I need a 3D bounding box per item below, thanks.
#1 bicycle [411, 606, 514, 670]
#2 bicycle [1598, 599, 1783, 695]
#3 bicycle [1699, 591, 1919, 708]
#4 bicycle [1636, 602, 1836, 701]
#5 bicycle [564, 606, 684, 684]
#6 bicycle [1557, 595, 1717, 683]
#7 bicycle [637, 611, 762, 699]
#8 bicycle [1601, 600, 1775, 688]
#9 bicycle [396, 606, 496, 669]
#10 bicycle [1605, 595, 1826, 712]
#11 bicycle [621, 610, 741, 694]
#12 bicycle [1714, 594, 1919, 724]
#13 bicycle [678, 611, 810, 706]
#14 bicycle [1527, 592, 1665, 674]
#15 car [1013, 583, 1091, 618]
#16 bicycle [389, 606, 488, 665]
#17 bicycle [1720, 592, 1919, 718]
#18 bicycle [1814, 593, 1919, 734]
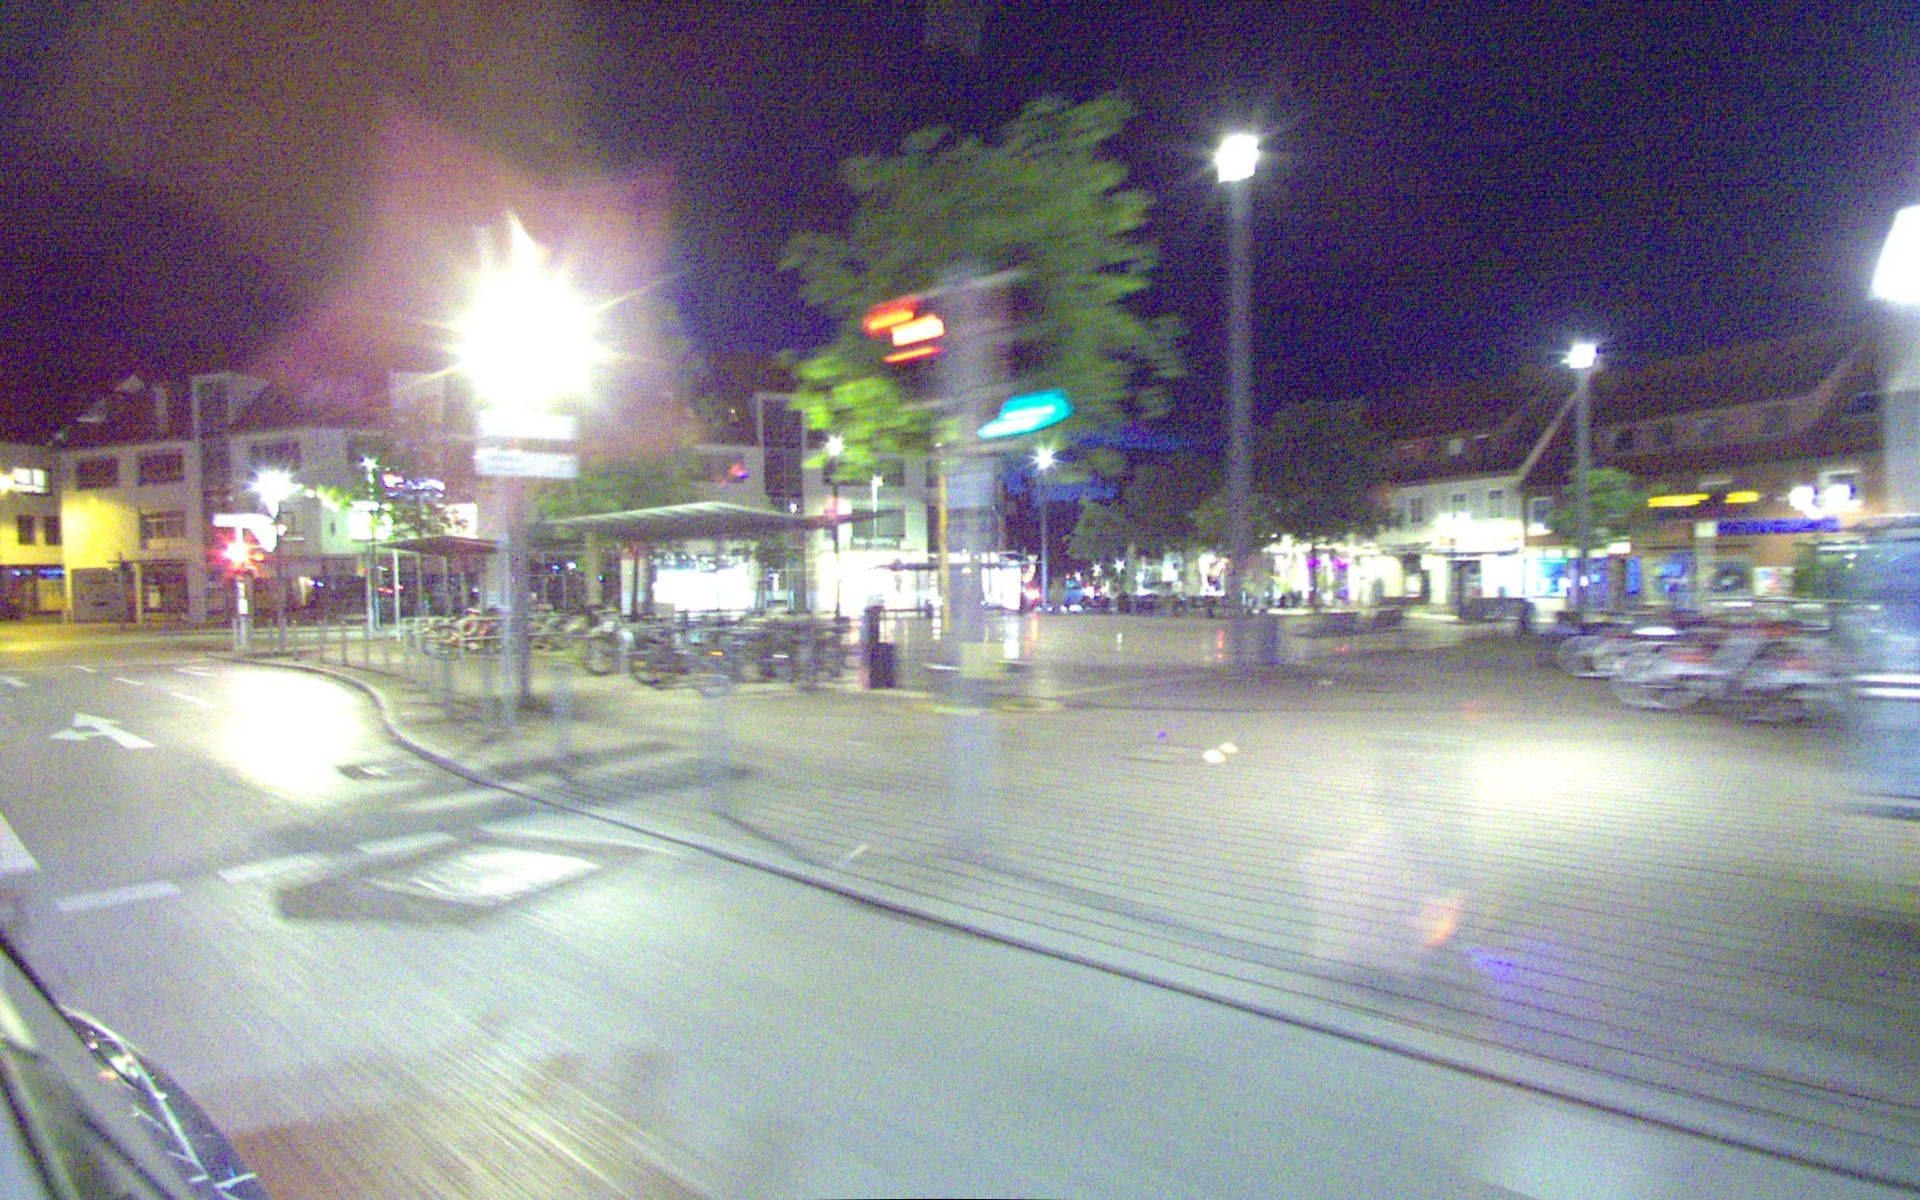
[{"bbox_3d":[-10.412,0.767,21.204,1.714,1.175,0.788,-5,3,-42],"label":"bicycle"},{"bbox_3d":[9.012,0.577,12.565,1.737,1.133,0.604,-2,-1,25],"label":"bicycle"},{"bbox_3d":[9.039,0.523,10.795,1.737,1.174,0.603,-2,-1,26],"label":"bicycle"},{"bbox_3d":[8.925,0.592,11.696,1.726,1.078,0.607,-2,-1,7],"label":"bicycle"},{"bbox_3d":[-5.491,0.710,16.598,0.670,1.173,1.750,-1,1,42],"label":"bicycle"},{"bbox_3d":[9.400,0.541,14.129,1.737,1.174,0.604,-2,-1,25],"label":"bicycle"},{"bbox_3d":[-3.684,0.741,14.395,0.670,1.114,1.599,0,2,42],"label":"bicycle"},{"bbox_3d":[9.541,0.578,13.342,1.737,1.109,0.604,-2,-1,25],"label":"bicycle"},{"bbox_3d":[-11.050,0.781,21.773,1.714,1.166,0.788,-5,4,-42],"label":"bicycle"},{"bbox_3d":[7.921,0.560,10.676,1.728,1.174,0.607,-2,-1,11],"label":"bicycle"},{"bbox_3d":[-4.121,0.739,15.034,0.670,1.114,1.598,1,2,42],"label":"bicycle"},{"bbox_3d":[8.220,0.543,9.497,1.728,1.163,0.543,-2,-1,11],"label":"bicycle"},{"bbox_3d":[-2.834,0.742,13.390,0.670,1.114,1.598,1,2,42],"label":"bicycle"},{"bbox_3d":[9.938,0.518,15.883,1.737,1.228,0.604,-2,-1,25],"label":"bicycle"},{"bbox_3d":[5.550,0.015,60.988,4.343,1.951,1.966,-1,-1,-33],"label":"car"},{"bbox_3d":[-11.883,0.778,23.076,1.812,1.166,0.788,-5,4,-42],"label":"bicycle"},{"bbox_3d":[8.613,0.532,9.917,1.728,1.174,0.607,-2,-1,11],"label":"bicycle"},{"bbox_3d":[8.607,0.520,8.705,1.728,1.171,0.759,-2,-1,11],"label":"bicycle"}]
